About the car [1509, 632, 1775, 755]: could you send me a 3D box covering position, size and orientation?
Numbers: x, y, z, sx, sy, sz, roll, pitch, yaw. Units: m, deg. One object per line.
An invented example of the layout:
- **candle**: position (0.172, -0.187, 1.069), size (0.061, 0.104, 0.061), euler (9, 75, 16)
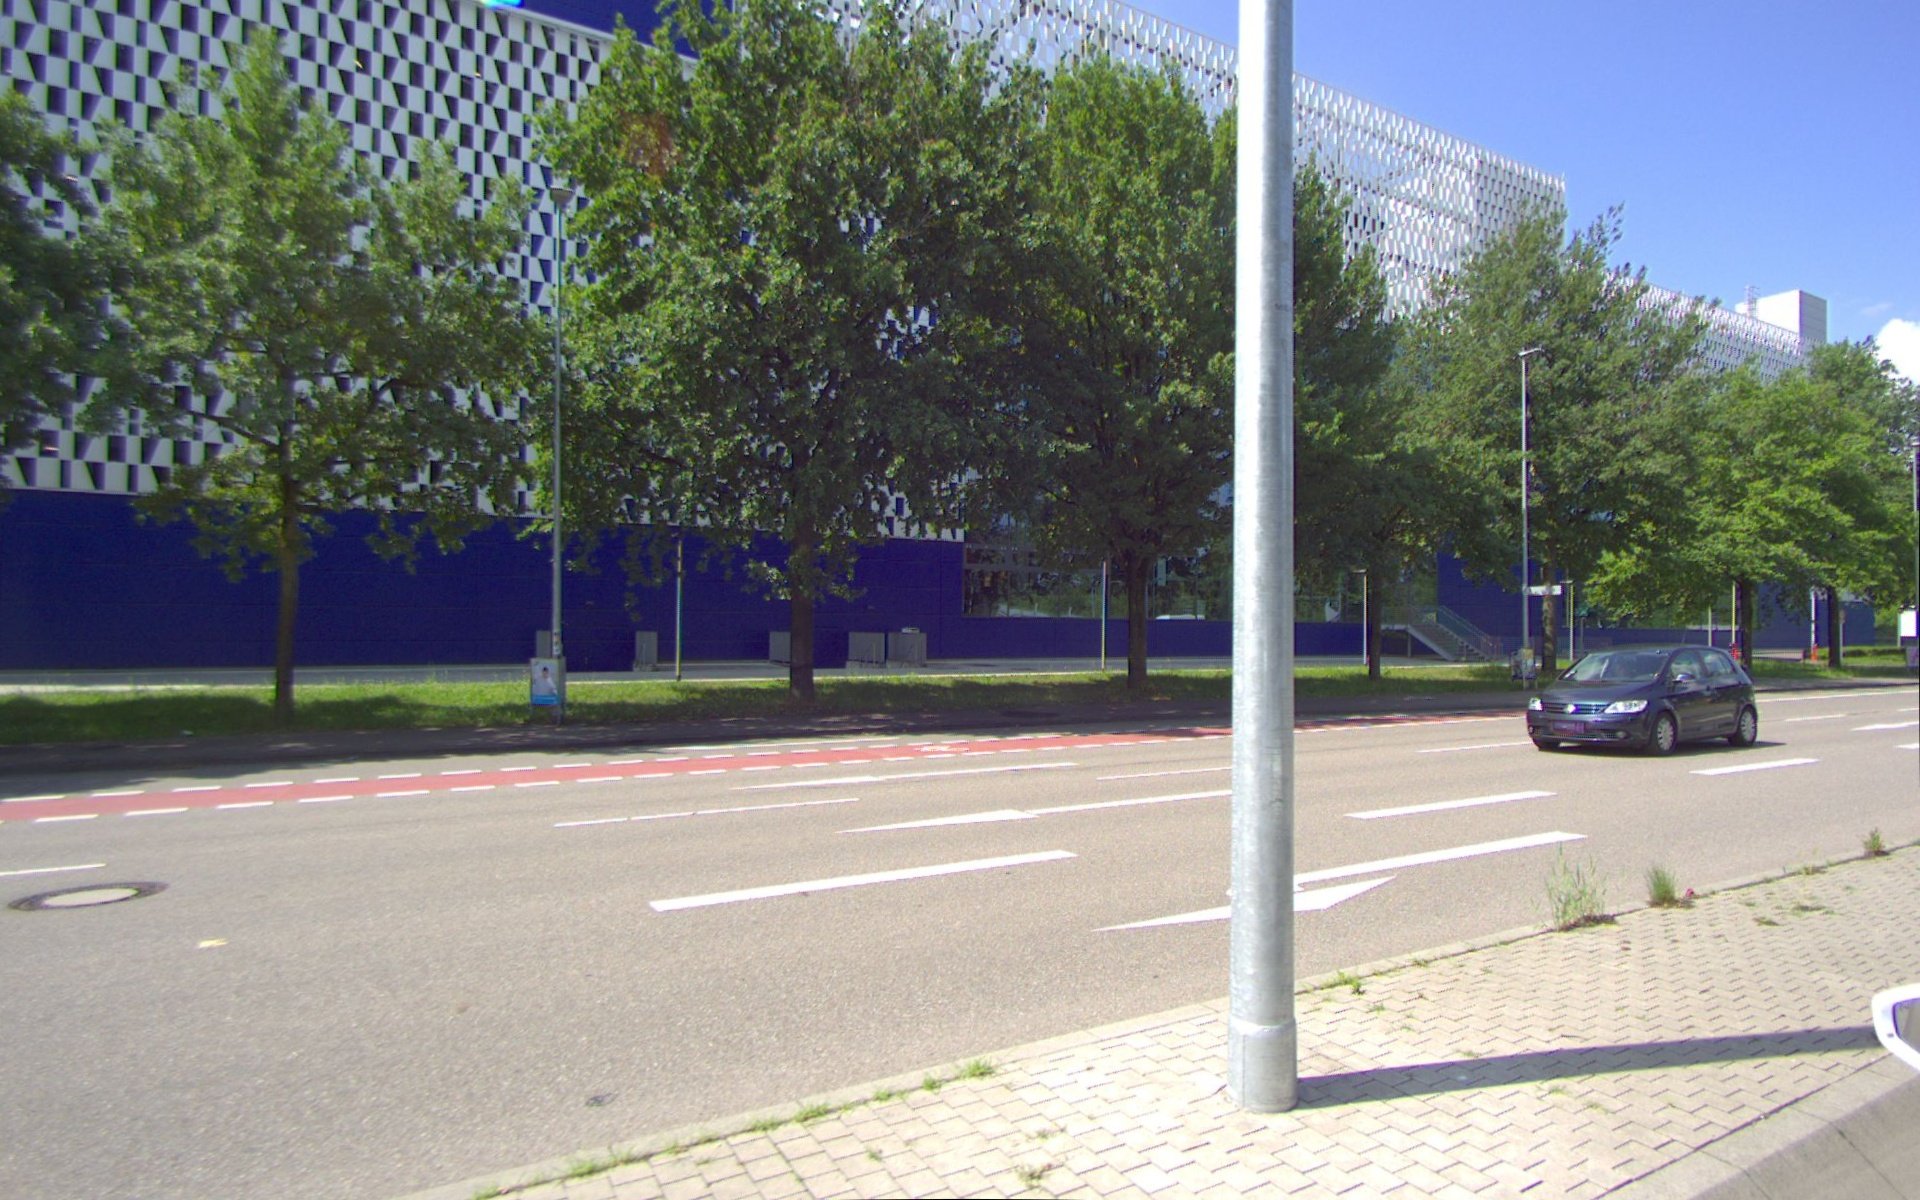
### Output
- **car**: position (10.363, 1.355, 15.204), size (4.194, 1.630, 1.729), euler (1, -5, -32)
